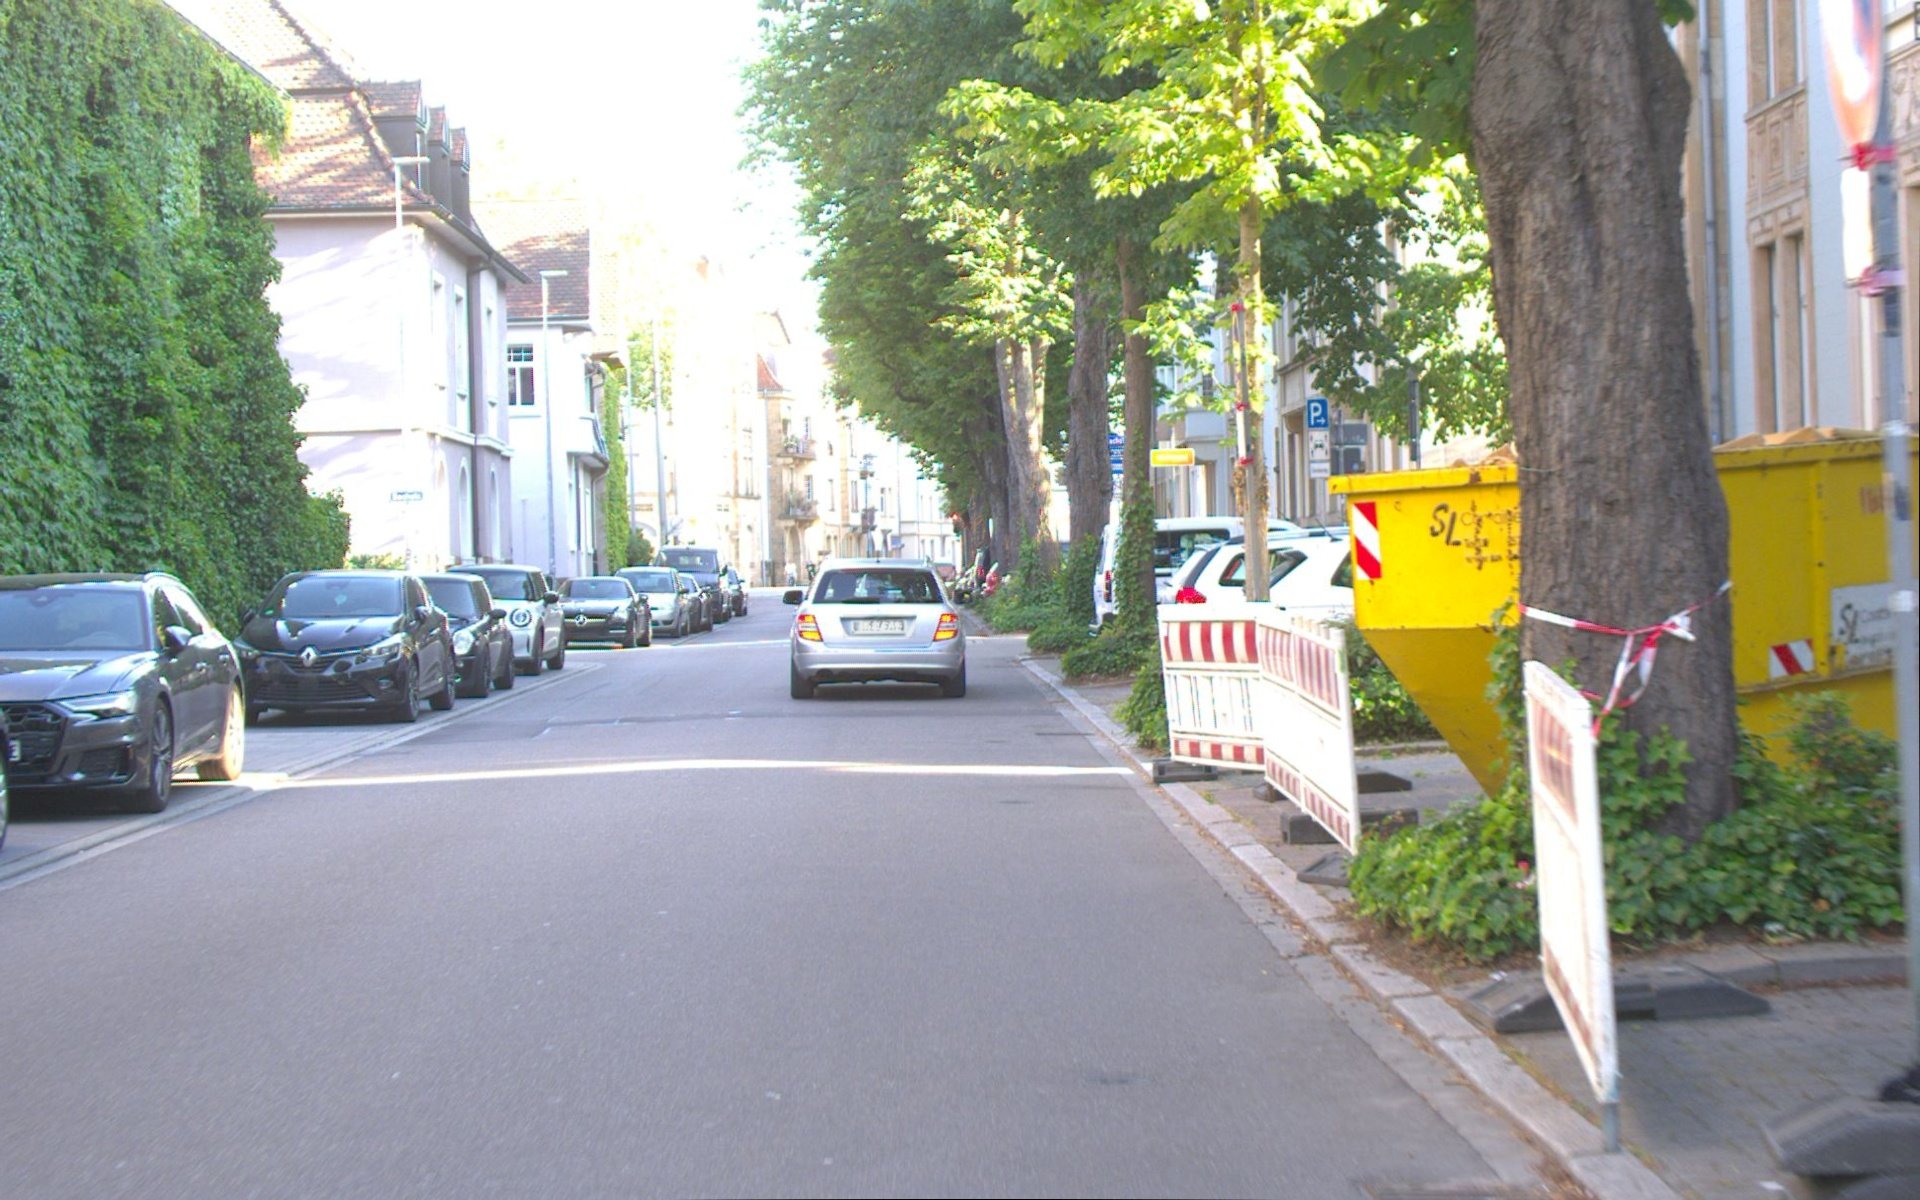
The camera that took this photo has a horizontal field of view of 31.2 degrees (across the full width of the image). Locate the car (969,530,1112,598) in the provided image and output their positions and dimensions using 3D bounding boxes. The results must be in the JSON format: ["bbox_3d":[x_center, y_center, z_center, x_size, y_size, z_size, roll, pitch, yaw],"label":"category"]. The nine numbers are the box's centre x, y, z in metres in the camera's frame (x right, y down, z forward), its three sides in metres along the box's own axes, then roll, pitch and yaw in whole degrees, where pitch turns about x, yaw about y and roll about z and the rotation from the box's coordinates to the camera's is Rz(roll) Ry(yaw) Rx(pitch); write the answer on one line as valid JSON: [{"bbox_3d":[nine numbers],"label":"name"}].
[{"bbox_3d":[2.475,-1.129,106.692,4.219,1.890,1.906,-3,1,-3],"label":"car"}]

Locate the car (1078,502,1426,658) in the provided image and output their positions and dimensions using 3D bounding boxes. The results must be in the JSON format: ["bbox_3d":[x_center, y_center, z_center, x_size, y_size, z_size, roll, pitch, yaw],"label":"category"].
[{"bbox_3d":[3.821,-0.275,45.537,4.314,1.801,2.000,-3,1,-1],"label":"car"}]

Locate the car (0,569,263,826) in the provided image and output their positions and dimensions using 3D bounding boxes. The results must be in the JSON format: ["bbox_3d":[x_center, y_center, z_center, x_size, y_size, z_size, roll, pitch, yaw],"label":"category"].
[{"bbox_3d":[-5.774,0.548,22.315,1.792,1.456,4.778,0,1,-3],"label":"car"}]

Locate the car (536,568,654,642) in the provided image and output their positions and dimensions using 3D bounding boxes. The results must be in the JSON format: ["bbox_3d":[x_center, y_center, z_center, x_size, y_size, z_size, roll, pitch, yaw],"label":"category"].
[{"bbox_3d":[-6.696,0.070,63.434,1.653,1.319,4.045,0,0,1],"label":"car"}]

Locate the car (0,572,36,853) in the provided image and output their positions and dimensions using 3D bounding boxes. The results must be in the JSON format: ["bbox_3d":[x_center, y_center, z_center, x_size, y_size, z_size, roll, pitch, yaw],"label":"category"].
[{"bbox_3d":[-5.713,0.601,16.613,1.653,1.442,3.845,0,1,-3],"label":"car"}]

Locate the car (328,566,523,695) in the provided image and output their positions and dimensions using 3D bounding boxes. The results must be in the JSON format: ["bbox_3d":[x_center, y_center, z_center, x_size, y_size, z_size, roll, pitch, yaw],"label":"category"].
[{"bbox_3d":[-6.046,0.318,39.231,1.686,1.375,3.721,0,1,-1],"label":"car"}]

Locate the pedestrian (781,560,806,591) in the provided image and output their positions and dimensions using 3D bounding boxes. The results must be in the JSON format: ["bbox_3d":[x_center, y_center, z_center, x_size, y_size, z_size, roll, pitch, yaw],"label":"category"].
[{"bbox_3d":[-9.209,-1.354,189.884,1.221,1.716,1.503,0,1,2],"label":"pedestrian"}]

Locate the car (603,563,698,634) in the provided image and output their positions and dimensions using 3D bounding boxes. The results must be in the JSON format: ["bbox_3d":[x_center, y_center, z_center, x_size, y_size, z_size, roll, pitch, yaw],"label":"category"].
[{"bbox_3d":[-6.487,-0.054,72.397,1.653,1.440,3.960,0,1,0],"label":"car"}]

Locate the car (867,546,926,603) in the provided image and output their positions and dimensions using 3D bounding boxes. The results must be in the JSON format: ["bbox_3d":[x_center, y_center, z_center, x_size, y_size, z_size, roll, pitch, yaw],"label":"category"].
[{"bbox_3d":[-1.804,-0.743,98.641,1.623,1.564,3.680,-1,1,0],"label":"car"}]

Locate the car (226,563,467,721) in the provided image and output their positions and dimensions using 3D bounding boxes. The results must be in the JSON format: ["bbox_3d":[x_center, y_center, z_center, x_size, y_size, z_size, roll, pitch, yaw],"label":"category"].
[{"bbox_3d":[-5.885,0.360,33.394,1.649,1.416,4.099,0,1,-1],"label":"car"}]

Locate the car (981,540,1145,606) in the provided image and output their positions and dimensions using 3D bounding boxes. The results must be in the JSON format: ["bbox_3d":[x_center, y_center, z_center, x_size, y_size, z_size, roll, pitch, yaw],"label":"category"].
[{"bbox_3d":[2.701,-0.713,90.099,4.190,1.470,1.851,-3,0,2],"label":"car"}]

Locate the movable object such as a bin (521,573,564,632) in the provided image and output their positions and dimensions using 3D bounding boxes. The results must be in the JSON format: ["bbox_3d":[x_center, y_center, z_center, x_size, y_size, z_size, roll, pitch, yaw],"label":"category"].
[{"bbox_3d":[-9.406,0.045,77.508,0.721,1.279,2.096,-1,1,-1],"label":"movable object such as a bin"}]

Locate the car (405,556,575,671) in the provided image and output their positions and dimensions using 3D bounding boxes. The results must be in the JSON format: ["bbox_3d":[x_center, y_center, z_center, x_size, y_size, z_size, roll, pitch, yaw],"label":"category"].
[{"bbox_3d":[-6.249,0.153,46.052,1.704,1.455,3.917,0,1,0],"label":"car"}]

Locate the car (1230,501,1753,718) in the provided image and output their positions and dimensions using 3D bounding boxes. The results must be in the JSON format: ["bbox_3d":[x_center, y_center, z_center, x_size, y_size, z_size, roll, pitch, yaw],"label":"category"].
[{"bbox_3d":[4.083,0.059,26.880,3.852,1.457,1.686,-3,1,4],"label":"car"}]

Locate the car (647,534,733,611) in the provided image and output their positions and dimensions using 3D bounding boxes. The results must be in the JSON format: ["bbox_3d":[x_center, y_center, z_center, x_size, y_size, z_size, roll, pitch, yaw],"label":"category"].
[{"bbox_3d":[-6.937,-0.733,88.847,1.982,1.941,4.852,0,1,-2],"label":"car"}]

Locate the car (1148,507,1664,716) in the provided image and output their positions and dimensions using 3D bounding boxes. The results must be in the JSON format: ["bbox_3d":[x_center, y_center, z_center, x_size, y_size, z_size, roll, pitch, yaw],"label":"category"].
[{"bbox_3d":[3.749,0.081,29.382,4.144,1.529,1.687,-3,1,1],"label":"car"}]

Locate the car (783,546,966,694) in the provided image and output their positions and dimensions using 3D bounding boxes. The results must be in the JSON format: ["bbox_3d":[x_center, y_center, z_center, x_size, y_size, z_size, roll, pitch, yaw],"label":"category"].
[{"bbox_3d":[-0.846,0.190,35.535,1.784,1.432,3.851,0,0,0],"label":"car"}]

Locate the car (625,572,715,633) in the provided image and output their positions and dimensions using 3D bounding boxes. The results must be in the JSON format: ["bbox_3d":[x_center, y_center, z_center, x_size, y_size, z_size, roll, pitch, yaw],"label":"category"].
[{"bbox_3d":[-6.499,0.043,77.375,1.531,1.314,4.226,-1,0,2],"label":"car"}]
